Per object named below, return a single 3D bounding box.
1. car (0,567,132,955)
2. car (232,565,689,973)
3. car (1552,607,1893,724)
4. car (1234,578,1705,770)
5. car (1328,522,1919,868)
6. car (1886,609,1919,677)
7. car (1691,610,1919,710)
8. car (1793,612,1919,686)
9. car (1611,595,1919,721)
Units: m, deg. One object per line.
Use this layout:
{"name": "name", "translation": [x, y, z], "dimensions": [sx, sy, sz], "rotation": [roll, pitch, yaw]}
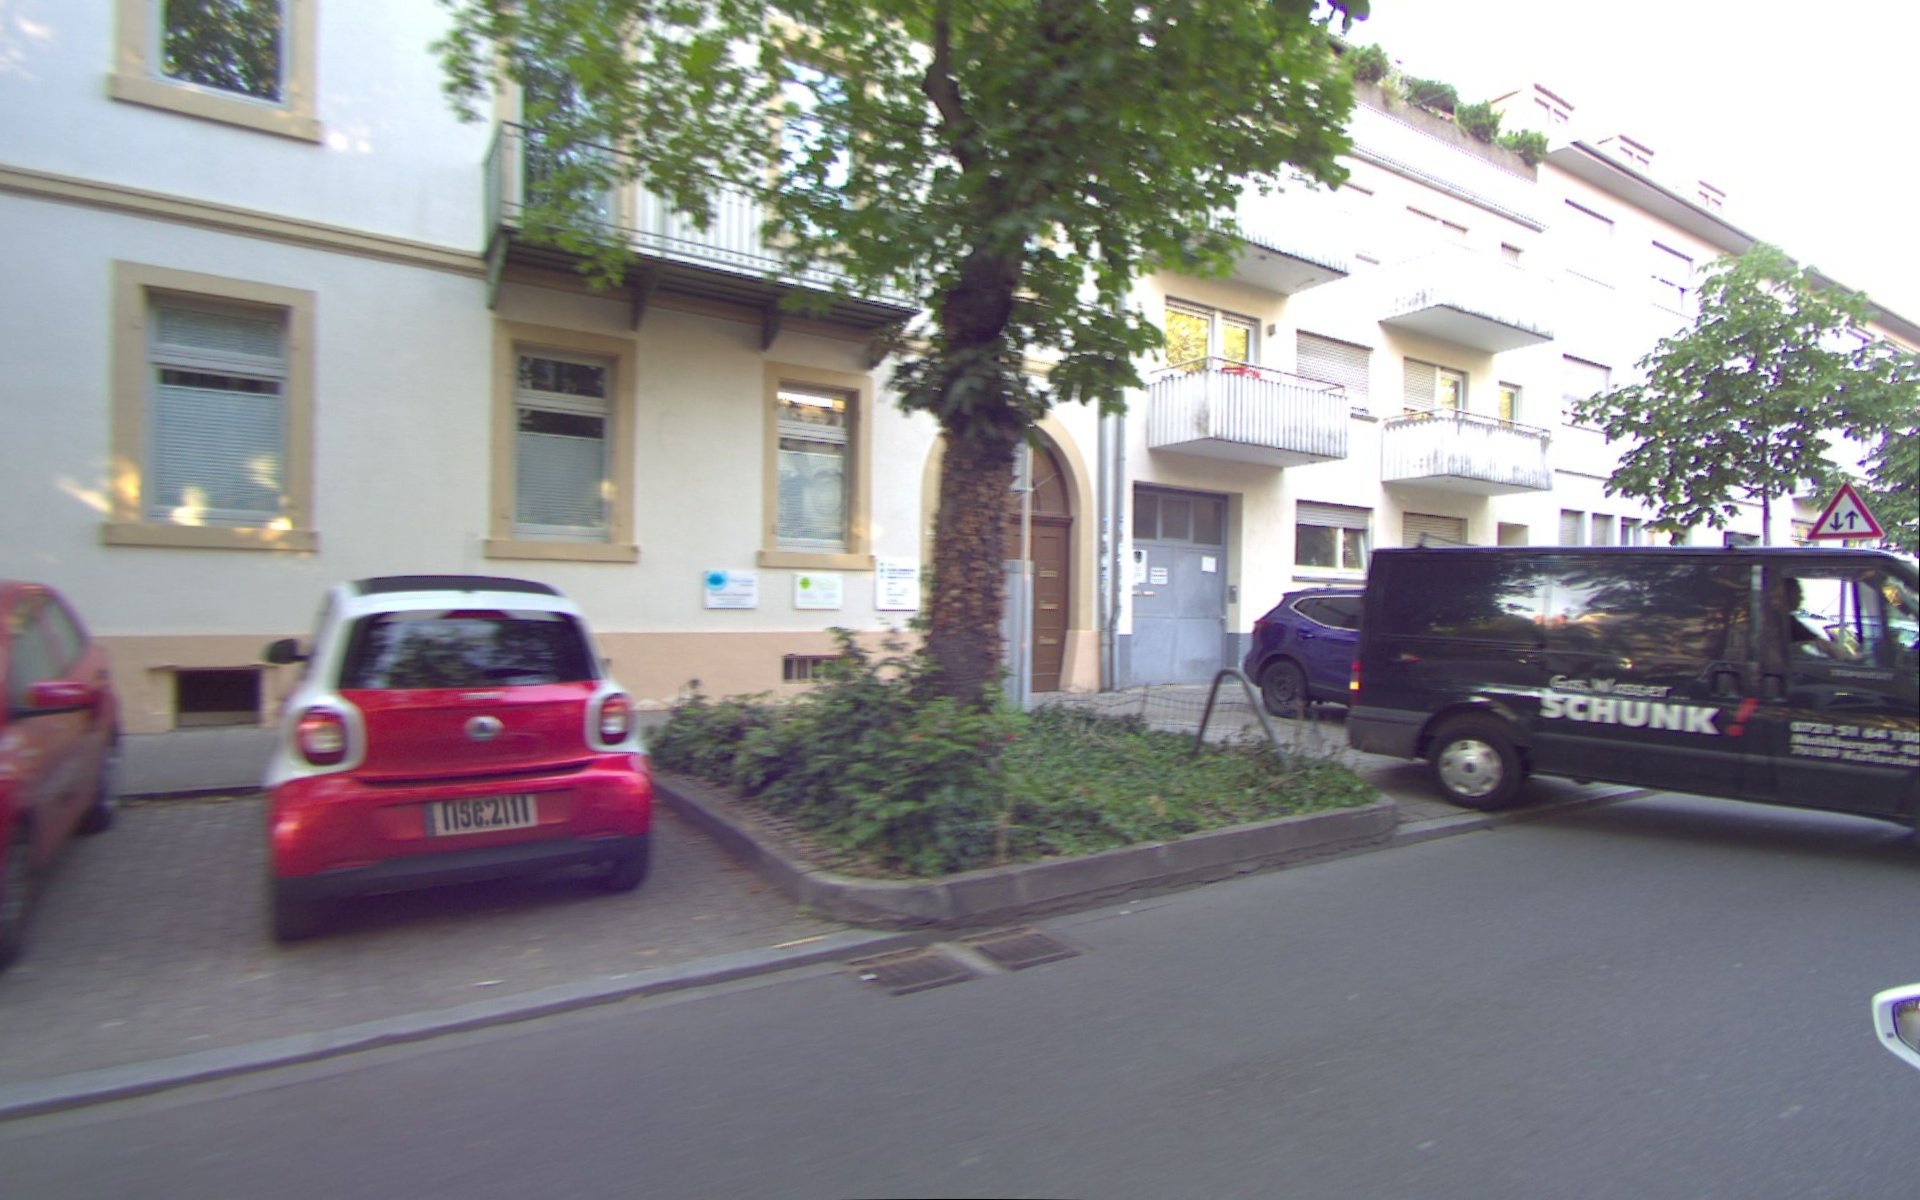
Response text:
{"name": "car", "translation": [-5.031, 0.597, 4.439], "dimensions": [1.641, 1.469, 3.663], "rotation": [1, 2, -32]}
{"name": "car", "translation": [-3.227, 0.628, 6.230], "dimensions": [1.752, 1.559, 4.329], "rotation": [2, 1, -32]}
{"name": "car", "translation": [11.630, 0.897, 15.574], "dimensions": [1.834, 1.470, 3.823], "rotation": [0, 1, -32]}
{"name": "car", "translation": [5.430, 0.640, 11.320], "dimensions": [1.909, 1.594, 4.329], "rotation": [1, 2, -32]}
{"name": "car", "translation": [5.526, 0.562, 7.314], "dimensions": [4.929, 2.017, 2.180], "rotation": [0, 0, 39]}
{"name": "car", "translation": [25.218, 1.094, 24.086], "dimensions": [1.914, 1.654, 4.071], "rotation": [1, 0, -31]}
{"name": "car", "translation": [15.911, 1.023, 18.134], "dimensions": [1.759, 1.514, 4.011], "rotation": [1, 1, -29]}
{"name": "car", "translation": [20.569, 1.070, 21.353], "dimensions": [1.735, 1.460, 4.053], "rotation": [1, 1, -31]}
{"name": "car", "translation": [13.930, 0.857, 16.813], "dimensions": [2.133, 1.789, 4.638], "rotation": [1, 1, -33]}
